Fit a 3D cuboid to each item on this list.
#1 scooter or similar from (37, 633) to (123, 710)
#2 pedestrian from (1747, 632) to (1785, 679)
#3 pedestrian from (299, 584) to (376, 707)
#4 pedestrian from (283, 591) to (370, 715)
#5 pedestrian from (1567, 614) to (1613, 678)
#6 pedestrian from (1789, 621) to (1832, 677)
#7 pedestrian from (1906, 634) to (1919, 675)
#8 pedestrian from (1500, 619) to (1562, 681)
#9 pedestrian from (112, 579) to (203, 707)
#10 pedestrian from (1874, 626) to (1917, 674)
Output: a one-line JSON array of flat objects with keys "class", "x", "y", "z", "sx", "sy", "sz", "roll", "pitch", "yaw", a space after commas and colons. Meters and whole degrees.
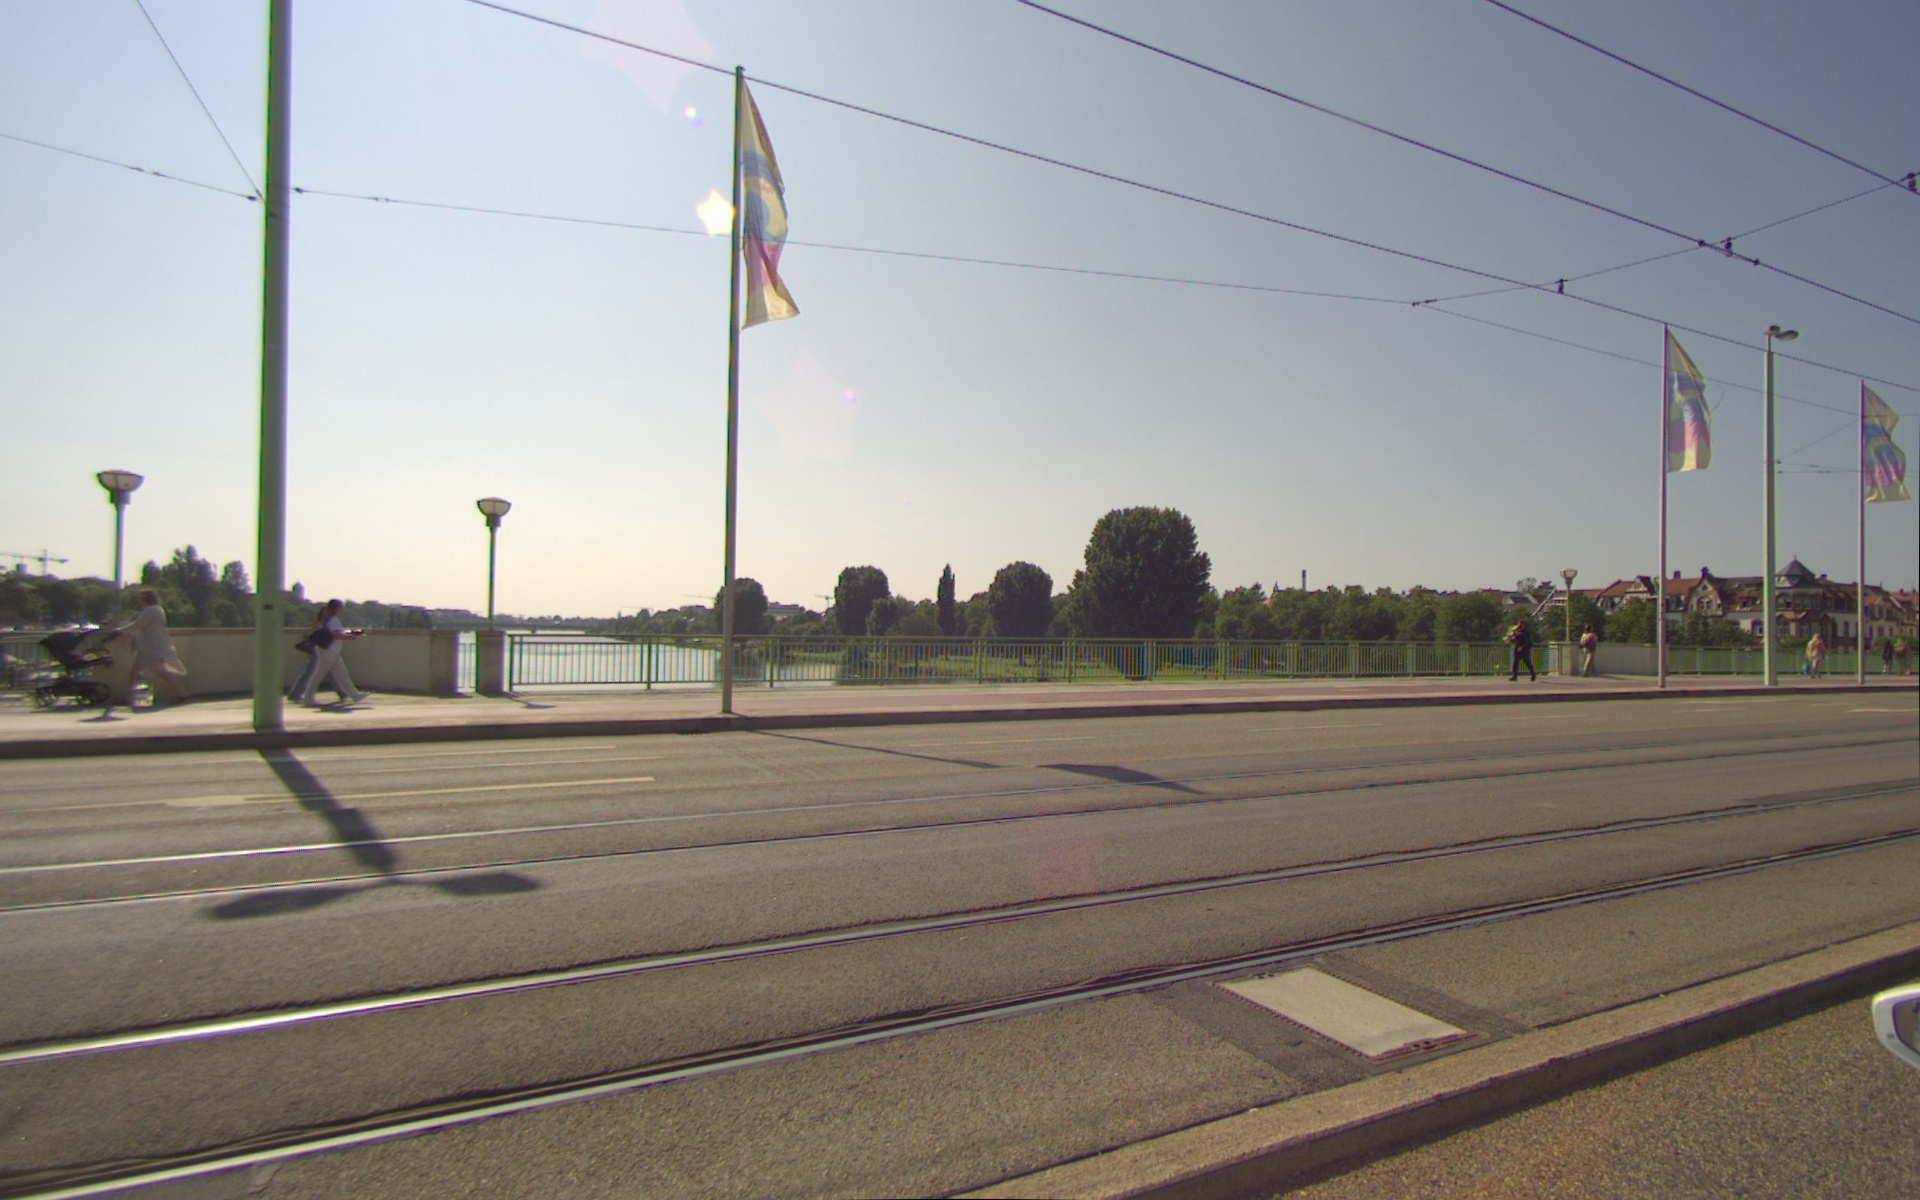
[{"class": "scooter or similar", "x": -13.060, "y": 1.045, "z": 14.934, "sx": 0.823, "sy": 1.043, "sz": 0.735, "roll": 1, "pitch": 2, "yaw": -30}, {"class": "pedestrian", "x": 30.521, "y": 2.097, "z": 38.030, "sx": 1.162, "sy": 1.745, "sz": 0.750, "roll": 2, "pitch": -1, "yaw": -30}, {"class": "pedestrian", "x": -9.597, "y": 0.683, "z": 15.516, "sx": 0.946, "sy": 1.808, "sz": 0.735, "roll": 1, "pitch": 2, "yaw": -30}, {"class": "pedestrian", "x": -10.030, "y": 0.823, "z": 15.945, "sx": 1.108, "sy": 1.874, "sz": 0.735, "roll": 1, "pitch": 2, "yaw": -30}, {"class": "pedestrian", "x": 20.468, "y": 1.481, "z": 32.651, "sx": 1.030, "sy": 2.040, "sz": 0.894, "roll": 1, "pitch": -1, "yaw": -30}, {"class": "pedestrian", "x": 31.586, "y": 1.810, "z": 37.300, "sx": 1.089, "sy": 2.040, "sz": 0.963, "roll": 1, "pitch": -1, "yaw": -33}, {"class": "pedestrian", "x": 41.466, "y": 2.327, "z": 42.988, "sx": 1.280, "sy": 1.752, "sz": 1.092, "roll": 1, "pitch": -1, "yaw": -30}, {"class": "pedestrian", "x": 16.804, "y": 1.460, "z": 29.570, "sx": 1.280, "sy": 1.781, "sz": 1.092, "roll": 1, "pitch": -1, "yaw": -30}, {"class": "pedestrian", "x": -12.268, "y": 0.640, "z": 15.382, "sx": 0.963, "sy": 1.878, "sz": 0.735, "roll": 1, "pitch": 2, "yaw": -30}, {"class": "pedestrian", "x": 40.575, "y": 2.165, "z": 43.556, "sx": 1.116, "sy": 2.040, "sz": 1.092, "roll": 1, "pitch": -1, "yaw": -30}]
